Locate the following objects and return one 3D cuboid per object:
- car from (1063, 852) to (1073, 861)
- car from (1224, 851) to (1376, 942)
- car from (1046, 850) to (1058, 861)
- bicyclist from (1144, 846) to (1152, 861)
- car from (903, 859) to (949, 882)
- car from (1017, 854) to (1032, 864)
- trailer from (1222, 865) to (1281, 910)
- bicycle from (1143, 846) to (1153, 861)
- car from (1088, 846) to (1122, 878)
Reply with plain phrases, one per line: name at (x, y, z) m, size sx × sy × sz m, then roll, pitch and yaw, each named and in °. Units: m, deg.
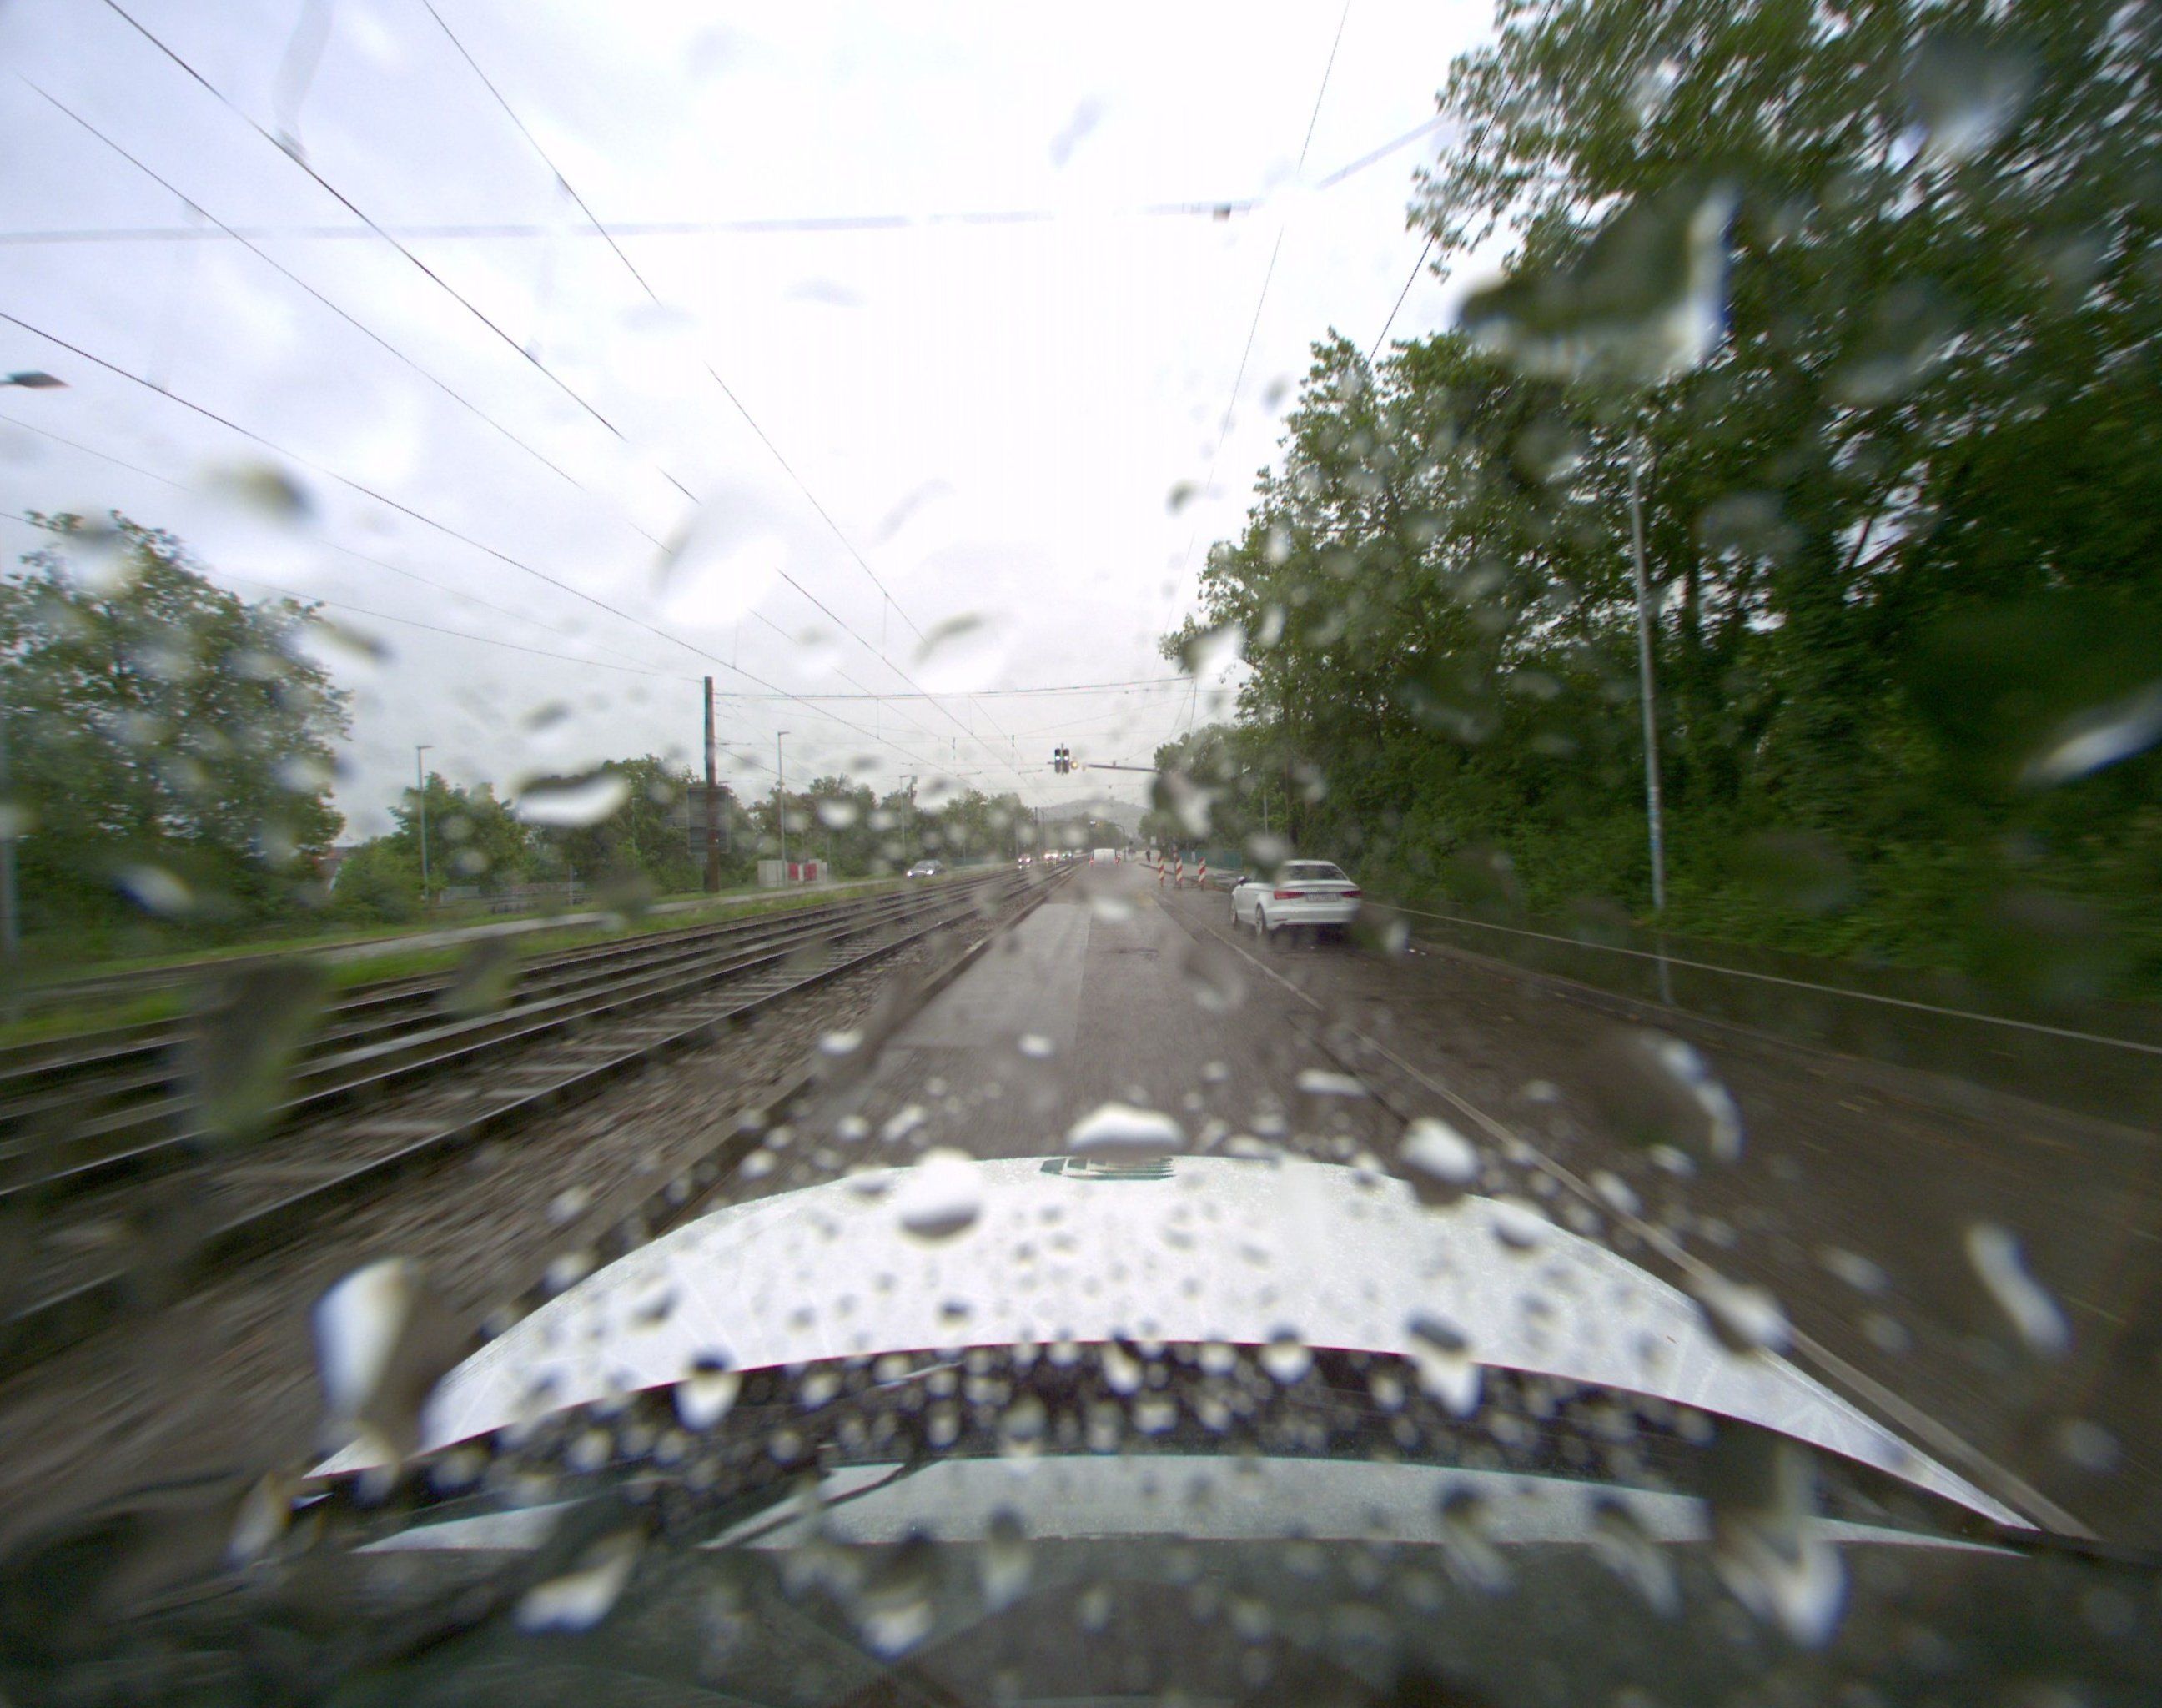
car at (-2.848, 0.482, 178.458) m, size 1.985 × 1.948 × 4.002 m, roll -1°, pitch -1°, yaw 2°
car at (3.999, 0.691, 15.642) m, size 1.813 × 1.486 × 4.482 m, roll 0°, pitch 0°, yaw 1°
car at (-5.430, 0.248, 151.885) m, size 1.985 × 2.014 × 4.002 m, roll -1°, pitch -1°, yaw 2°
bicyclist at (9.372, -0.016, 114.033) m, size 1.097 × 2.014 × 1.674 m, roll -1°, pitch -1°, yaw 1°
car at (-10.710, 1.095, 56.749) m, size 1.986 × 1.404 × 5.387 m, roll -2°, pitch 0°, yaw 1°
car at (-8.310, 0.713, 119.335) m, size 1.813 × 1.398 × 4.001 m, roll -2°, pitch 0°, yaw 1°
trailer at (4.548, 0.861, 21.999) m, size 1.369 × 1.046 × 3.450 m, roll -1°, pitch 0°, yaw 9°
bicycle at (9.359, -0.006, 114.139) m, size 1.102 × 2.014 × 3.051 m, roll -1°, pitch -1°, yaw 1°
car at (1.471, 0.502, 50.651) m, size 1.987 × 1.849 × 4.000 m, roll -2°, pitch 0°, yaw 0°
